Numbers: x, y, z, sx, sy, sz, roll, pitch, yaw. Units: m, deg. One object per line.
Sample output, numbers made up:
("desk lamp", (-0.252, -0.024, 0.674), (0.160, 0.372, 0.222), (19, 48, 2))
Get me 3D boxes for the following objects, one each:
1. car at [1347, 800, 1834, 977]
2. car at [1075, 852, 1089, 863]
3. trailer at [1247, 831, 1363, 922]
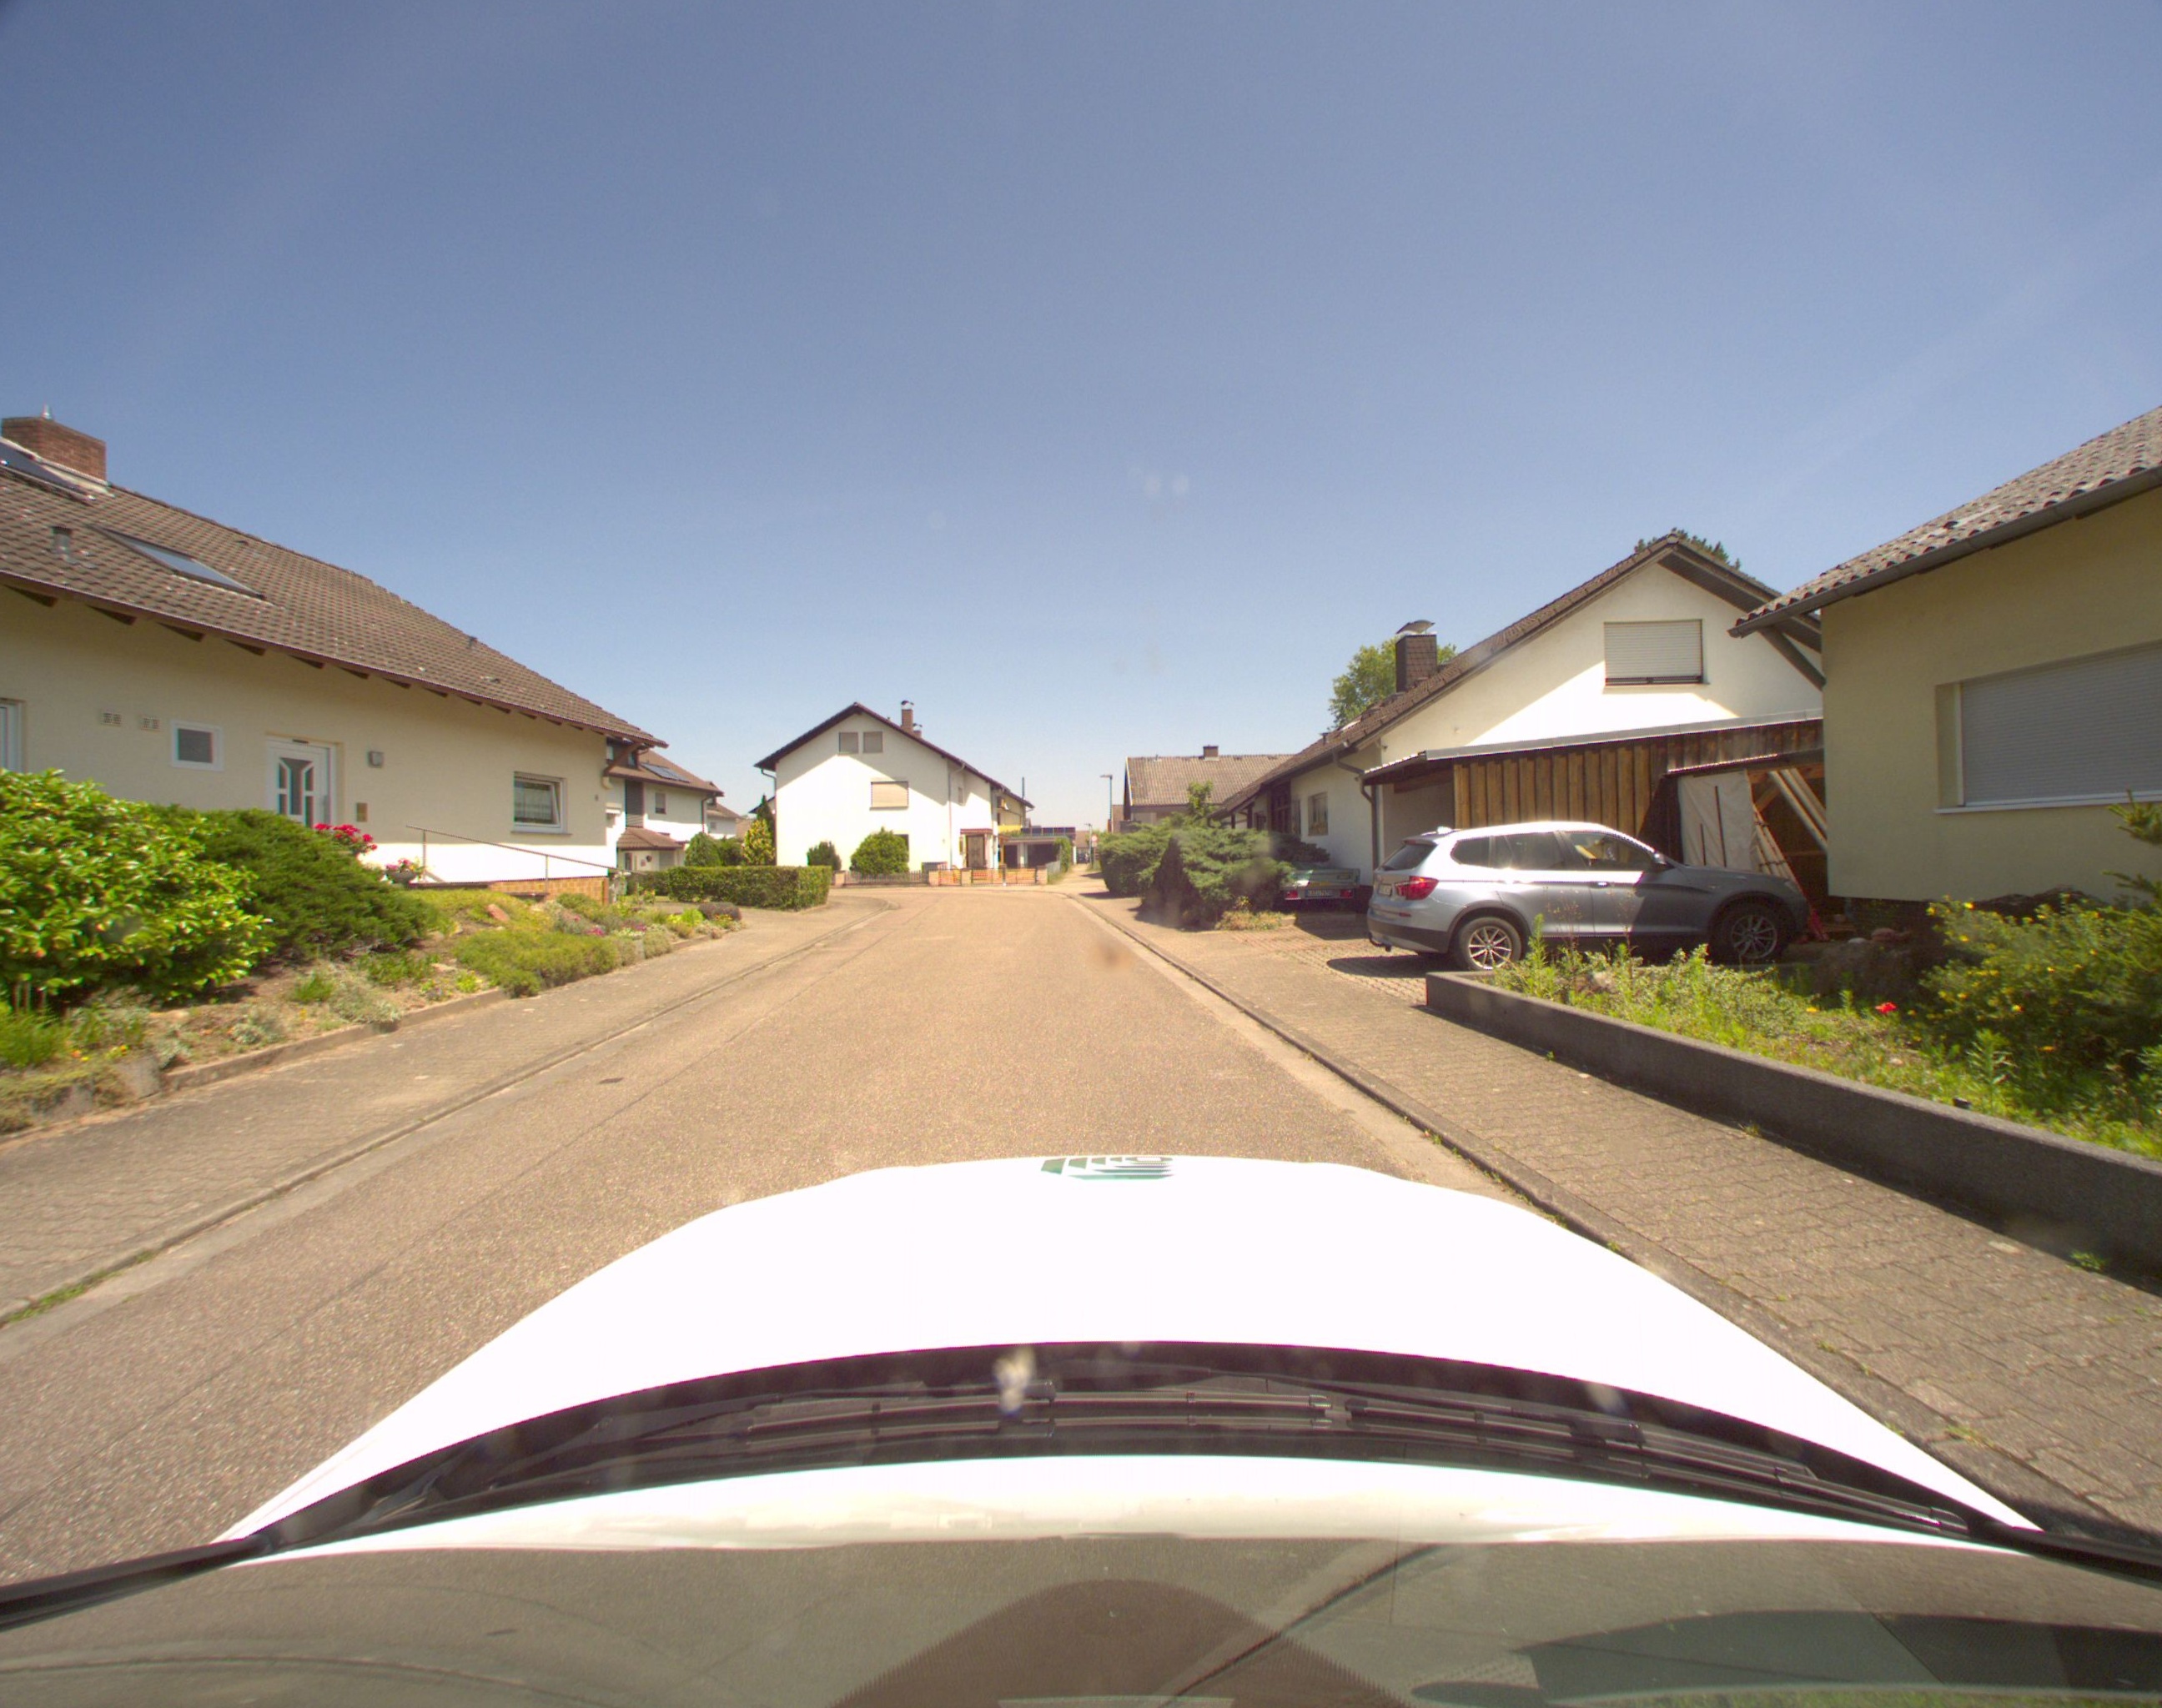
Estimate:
("car", (5.764, 0.389, 9.684), (4.607, 1.702, 1.711), (-3, 0, 4))
("car", (0.229, 0.606, 135.432), (2.185, 1.701, 3.809), (-2, 0, 2))
("trailer", (4.640, 0.414, 17.291), (1.581, 1.672, 3.298), (-3, 0, 2))
